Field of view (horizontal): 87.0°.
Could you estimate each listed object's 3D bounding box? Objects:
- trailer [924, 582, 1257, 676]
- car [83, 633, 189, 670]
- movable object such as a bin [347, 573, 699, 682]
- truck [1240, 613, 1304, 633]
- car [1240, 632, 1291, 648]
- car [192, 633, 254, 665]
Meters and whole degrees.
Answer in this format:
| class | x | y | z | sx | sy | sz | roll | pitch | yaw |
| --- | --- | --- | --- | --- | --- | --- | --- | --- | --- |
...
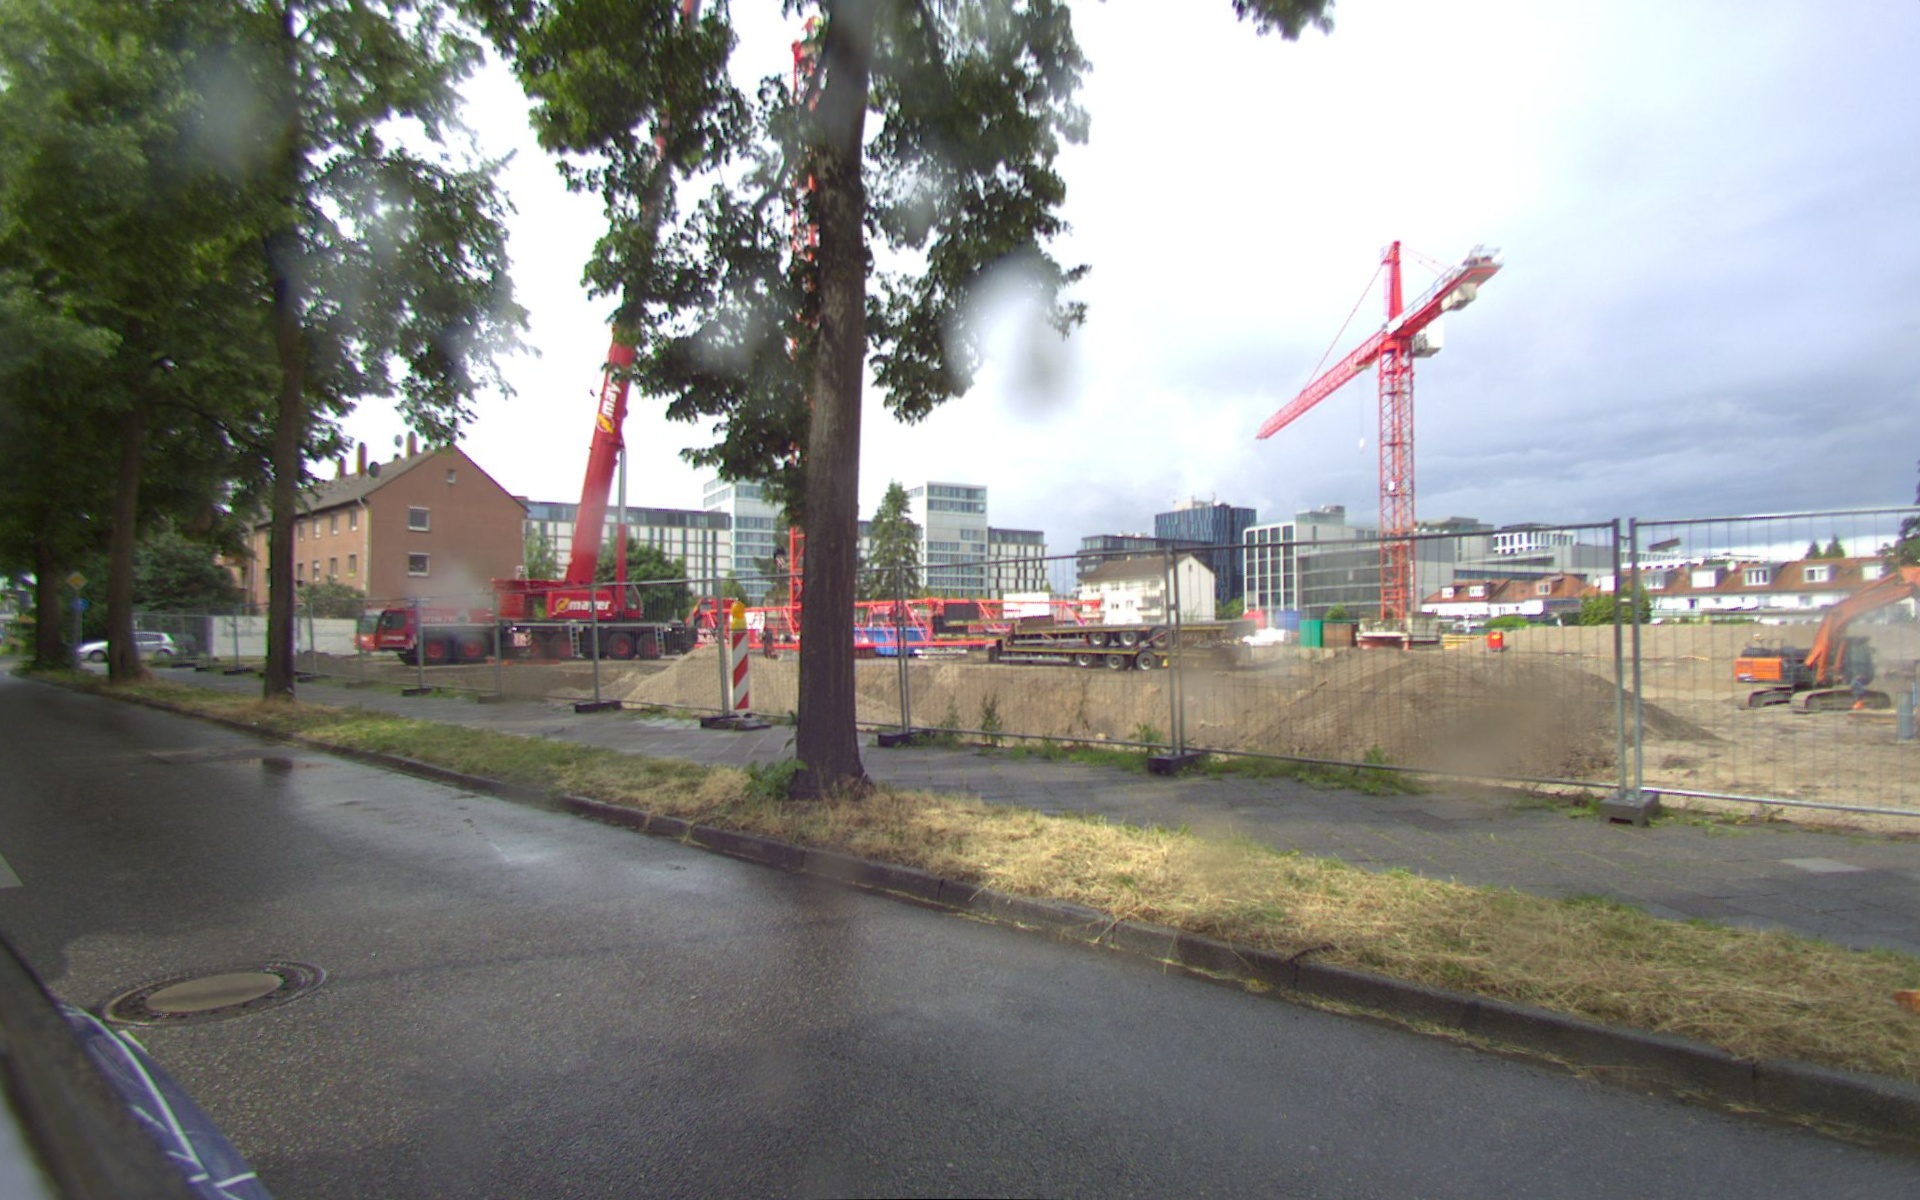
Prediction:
| class | x | y | z | sx | sy | sz | roll | pitch | yaw |
| --- | --- | --- | --- | --- | --- | --- | --- | --- | --- |
| trailer | 4.779 | 1.129 | 41.595 | 14.302 | 3.257 | 2.930 | -1 | 1 | 41 |
| car | -39.508 | 2.427 | 48.658 | 3.808 | 1.564 | 1.702 | -1 | 0 | -34 |
| movable object such as a bin | -20.477 | 1.116 | 49.215 | 3.102 | 4.592 | 15.727 | -1 | 0 | 44 |
| truck | 33.108 | 2.444 | 107.491 | 6.292 | 2.095 | 1.884 | -1 | 0 | 25 |
| car | 30.917 | 4.013 | 102.443 | 4.582 | 1.529 | 1.797 | -1 | 0 | 44 |
| car | -39.132 | 2.578 | 53.701 | 3.996 | 1.541 | 1.672 | -1 | 0 | 39 |
